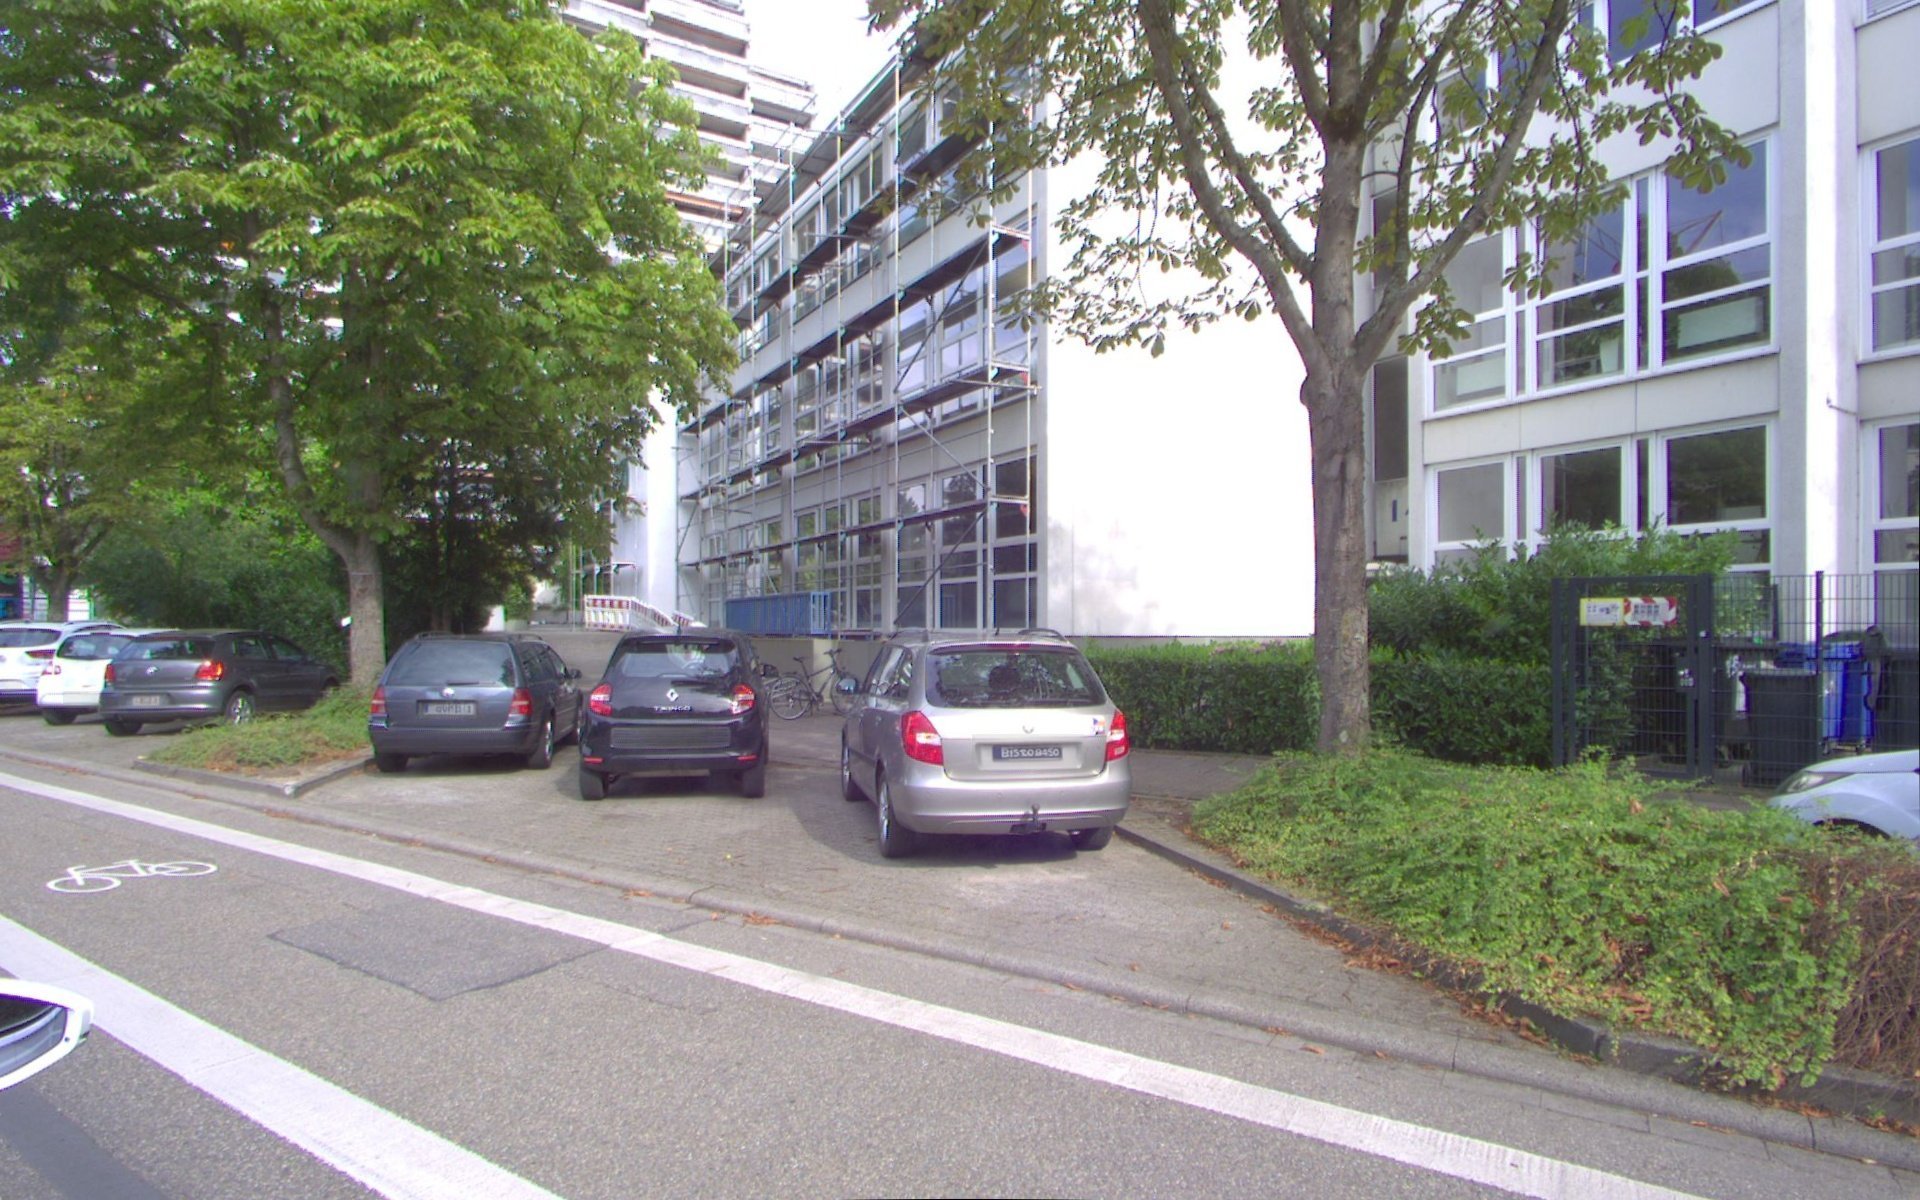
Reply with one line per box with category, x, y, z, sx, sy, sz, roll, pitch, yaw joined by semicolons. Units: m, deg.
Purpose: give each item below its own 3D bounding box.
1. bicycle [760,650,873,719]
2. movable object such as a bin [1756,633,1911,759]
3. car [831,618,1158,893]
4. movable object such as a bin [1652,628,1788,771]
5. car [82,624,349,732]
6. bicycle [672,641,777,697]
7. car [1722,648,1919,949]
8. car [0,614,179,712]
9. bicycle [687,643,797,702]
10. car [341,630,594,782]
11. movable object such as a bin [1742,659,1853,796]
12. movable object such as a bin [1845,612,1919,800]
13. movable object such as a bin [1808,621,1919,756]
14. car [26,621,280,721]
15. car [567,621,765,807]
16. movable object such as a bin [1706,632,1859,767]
bicycle;-2.372;1.379;16.604;1.813;1.057;0.451;0;0;-29
movable object such as a bin;10.383;1.095;11.918;1.160;1.388;1.171;1;-1;-36
car;-0.020;0.955;7.826;1.566;1.557;4.049;1;-2;-13
movable object such as a bin;8.077;1.016;10.651;1.012;1.425;0.906;1;-1;-36
car;-11.094;1.104;15.268;1.650;1.438;3.647;0;-2;-6
bicycle;-4.631;1.346;19.693;1.944;1.057;0.593;1;-1;-20
car;5.569;0.938;4.028;1.604;1.411;3.858;1;-2;-13
car;-16.290;1.099;18.380;1.651;1.623;3.644;0;-2;-12
bicycle;-4.110;1.358;18.959;1.949;1.057;0.591;1;-1;-30
car;-5.519;1.083;11.798;1.783;1.433;4.166;0;-2;-14
movable object such as a bin;7.461;1.103;8.959;0.734;1.119;0.781;0;-1;38
movable object such as a bin;8.598;0.884;8.574;1.397;1.549;1.322;-1;-1;37
movable object such as a bin;11.566;1.070;12.579;1.160;1.588;1.171;1;-1;-36
car;-13.433;1.132;16.969;1.650;1.493;3.647;0;-2;-6
car;-2.814;1.008;10.201;1.566;1.557;3.416;1;-1;-10
movable object such as a bin;9.238;1.069;11.264;1.050;1.409;1.111;1;-1;-36
